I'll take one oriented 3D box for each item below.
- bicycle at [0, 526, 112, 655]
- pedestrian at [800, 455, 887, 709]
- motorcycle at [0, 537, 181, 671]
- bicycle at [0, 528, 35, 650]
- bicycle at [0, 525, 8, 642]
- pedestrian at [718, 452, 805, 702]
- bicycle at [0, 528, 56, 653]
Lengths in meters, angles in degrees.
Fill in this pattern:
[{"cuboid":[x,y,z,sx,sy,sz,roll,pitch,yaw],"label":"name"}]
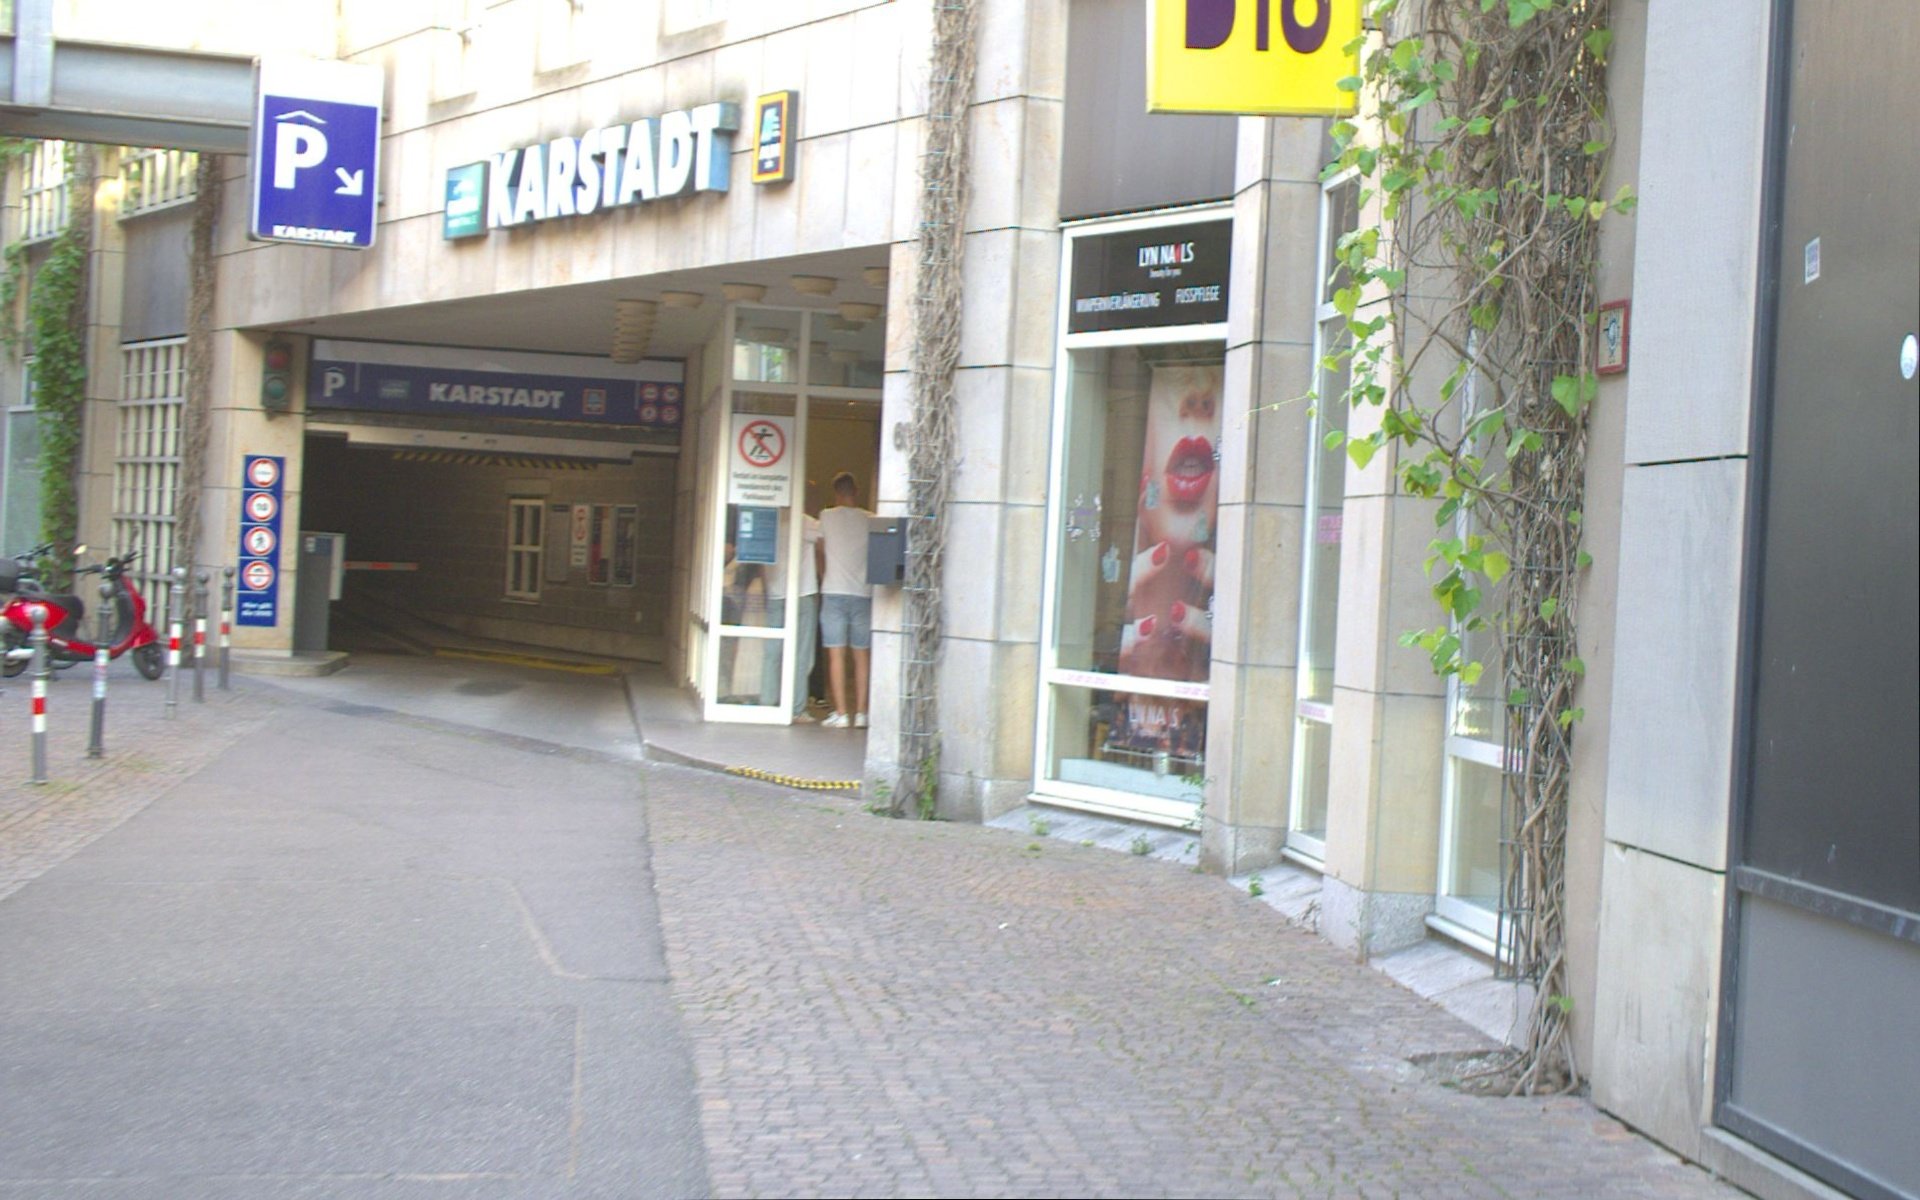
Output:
[{"cuboid":[-8.967,-0.092,31.956,1.993,1.178,0.696,0,2,-25],"label":"bicycle"},{"cuboid":[-0.867,-0.141,25.618,0.542,1.855,0.408,3,2,0],"label":"pedestrian"},{"cuboid":[-7.827,0.036,30.391,1.745,1.151,0.595,0,2,-23],"label":"motorcycle"},{"cuboid":[-10.130,-0.117,33.588,1.993,1.178,0.803,0,2,-25],"label":"bicycle"},{"cuboid":[-10.701,-0.180,34.669,1.993,1.178,0.803,0,2,-25],"label":"bicycle"},{"cuboid":[-1.487,-0.179,25.791,0.542,1.840,0.408,3,2,0],"label":"pedestrian"},{"cuboid":[-9.698,-0.096,32.746,1.993,1.178,0.696,0,2,-25],"label":"bicycle"}]
